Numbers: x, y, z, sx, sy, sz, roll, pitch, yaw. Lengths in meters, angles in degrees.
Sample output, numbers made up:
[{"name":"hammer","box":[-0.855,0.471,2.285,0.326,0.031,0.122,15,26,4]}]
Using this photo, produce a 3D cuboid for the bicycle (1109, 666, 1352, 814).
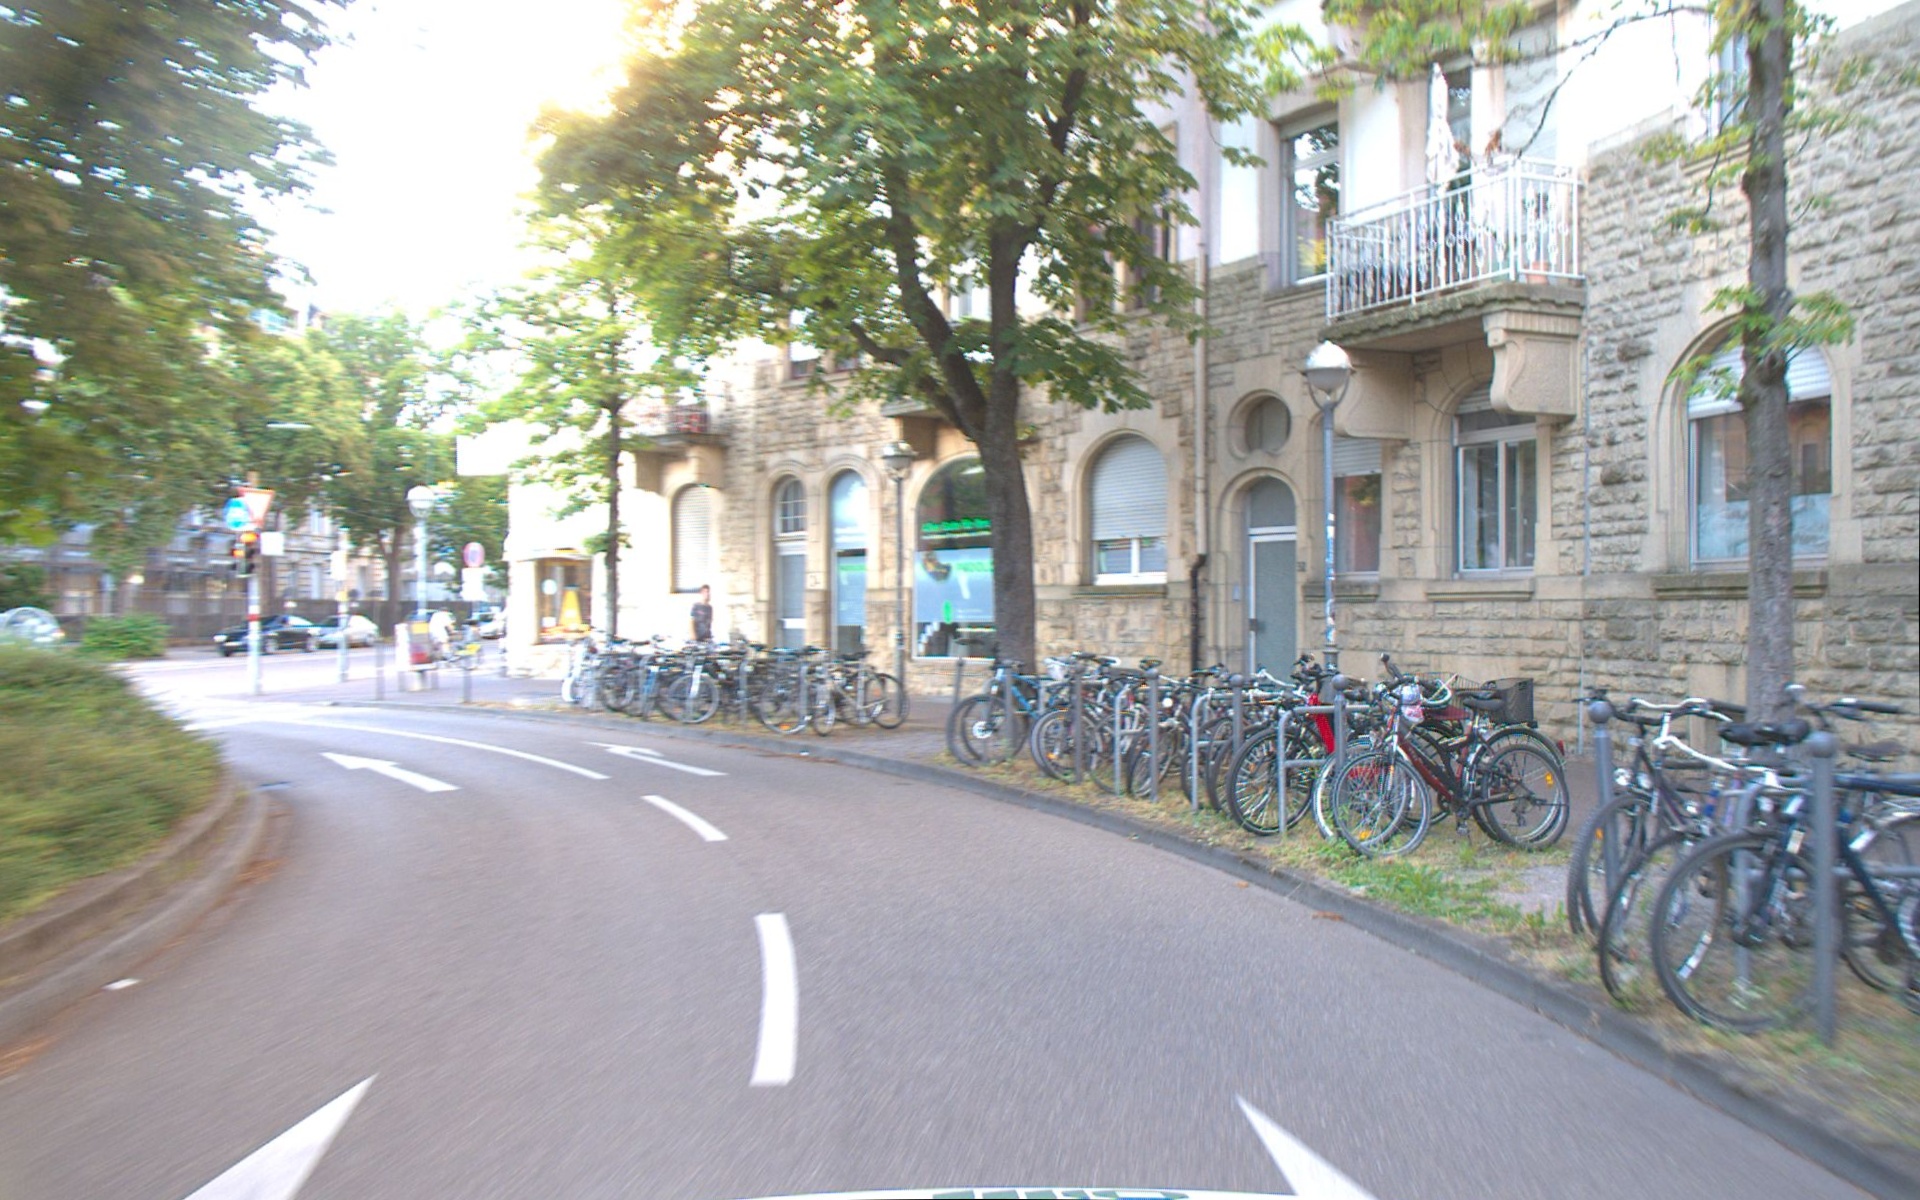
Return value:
[{"name":"bicycle","box":[2.164,1.093,13.194,1.885,1.080,0.532,0,-1,-19]}]

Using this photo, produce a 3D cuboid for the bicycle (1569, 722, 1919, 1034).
[{"name":"bicycle","box":[3.171,1.009,6.227,1.572,1.038,0.554,0,-1,-8]}]

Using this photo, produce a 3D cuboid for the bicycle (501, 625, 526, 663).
[{"name":"bicycle","box":[-15.338,1.496,56.824,0.685,1.258,1.858,0,0,-10]}]

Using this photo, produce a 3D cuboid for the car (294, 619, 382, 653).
[{"name":"car","box":[-28.057,1.587,74.746,1.962,1.451,4.634,0,0,3]}]

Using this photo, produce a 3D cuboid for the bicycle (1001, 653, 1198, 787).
[{"name":"bicycle","box":[1.303,1.094,15.401,1.822,1.165,0.416,0,-1,-20]}]

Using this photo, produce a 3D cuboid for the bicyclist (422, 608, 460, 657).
[{"name":"bicyclist","box":[-15.515,0.965,49.489,0.683,1.436,0.864,0,-1,25]}]

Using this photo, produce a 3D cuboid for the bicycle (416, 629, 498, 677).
[{"name":"bicycle","box":[-12.514,1.313,41.160,1.854,1.150,0.723,0,-1,-32]}]

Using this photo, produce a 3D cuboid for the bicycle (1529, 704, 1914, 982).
[{"name":"bicycle","box":[3.290,1.019,7.156,1.574,1.082,0.417,0,-1,-12]}]

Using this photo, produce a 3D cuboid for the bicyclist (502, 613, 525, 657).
[{"name":"bicyclist","box":[-15.332,1.191,56.807,0.685,1.487,0.782,0,-1,-11]}]

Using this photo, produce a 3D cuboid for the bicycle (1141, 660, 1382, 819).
[{"name":"bicycle","box":[2.313,1.045,12.674,1.819,1.136,0.417,0,-1,-16]}]

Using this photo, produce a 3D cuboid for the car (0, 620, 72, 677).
[{"name":"car","box":[-27.251,1.351,46.374,1.902,1.536,4.423,0,0,8]}]

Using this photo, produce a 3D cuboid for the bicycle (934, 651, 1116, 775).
[{"name":"bicycle","box":[0.673,1.117,16.685,1.861,1.159,0.487,1,2,-33]}]

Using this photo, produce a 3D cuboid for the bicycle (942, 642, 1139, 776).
[{"name":"bicycle","box":[0.795,1.062,16.267,1.851,1.238,0.489,0,-6,-20]}]

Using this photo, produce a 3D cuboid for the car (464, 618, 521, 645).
[{"name":"car","box":[-26.616,1.786,94.302,1.904,1.508,4.321,0,0,1]}]

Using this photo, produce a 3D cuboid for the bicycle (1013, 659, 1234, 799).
[{"name":"bicycle","box":[1.455,1.135,14.737,1.822,1.109,0.417,0,-19,-20]}]

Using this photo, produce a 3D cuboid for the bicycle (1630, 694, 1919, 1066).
[{"name":"bicycle","box":[3.230,0.932,5.790,1.572,1.168,0.554,0,-1,-8]}]

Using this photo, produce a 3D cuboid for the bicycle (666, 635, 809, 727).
[{"name":"bicycle","box":[-3.068,1.100,22.941,1.870,1.183,0.695,0,-1,-36]}]

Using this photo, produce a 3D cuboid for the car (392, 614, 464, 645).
[{"name":"car","box":[-27.303,1.500,85.043,1.902,1.508,4.171,0,0,7]}]

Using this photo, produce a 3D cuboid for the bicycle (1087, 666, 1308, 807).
[{"name":"bicycle","box":[1.964,1.105,13.635,1.822,1.070,0.416,0,-1,-20]}]

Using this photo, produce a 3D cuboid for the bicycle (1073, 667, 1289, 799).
[{"name":"bicycle","box":[1.865,1.098,13.907,1.822,1.017,0.416,0,-1,-20]}]

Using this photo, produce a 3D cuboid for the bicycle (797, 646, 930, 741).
[{"name":"bicycle","box":[-1.172,1.129,20.365,1.658,1.097,0.480,0,-1,-38]}]

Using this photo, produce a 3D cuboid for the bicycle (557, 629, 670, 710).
[{"name":"bicycle","box":[-5.634,1.113,26.955,0.639,1.258,1.782,-1,-1,42]}]

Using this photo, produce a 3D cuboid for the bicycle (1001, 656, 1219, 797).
[{"name":"bicycle","box":[1.357,1.134,14.993,1.822,1.147,0.417,0,-19,-20]}]

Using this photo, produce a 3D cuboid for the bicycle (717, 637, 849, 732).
[{"name":"bicycle","box":[-2.331,1.098,21.802,1.651,1.147,0.482,0,6,-29]}]

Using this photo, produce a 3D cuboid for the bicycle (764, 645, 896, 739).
[{"name":"bicycle","box":[-1.617,1.131,20.663,1.658,1.097,0.480,0,-1,-38]}]

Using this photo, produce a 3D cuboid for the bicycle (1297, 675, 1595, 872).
[{"name":"bicycle","box":[2.944,1.021,10.007,1.761,1.082,0.446,0,-1,-16]}]

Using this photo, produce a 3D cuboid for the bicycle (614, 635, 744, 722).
[{"name":"bicycle","box":[-4.065,1.115,24.043,0.629,1.183,1.879,-1,-1,43]}]

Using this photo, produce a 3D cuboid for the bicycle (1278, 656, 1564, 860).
[{"name":"bicycle","box":[2.908,0.966,10.418,1.761,1.188,0.446,0,-1,-16]}]

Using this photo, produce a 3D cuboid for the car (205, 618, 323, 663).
[{"name":"car","box":[-25.491,1.457,60.734,1.902,1.536,4.635,0,0,7]}]

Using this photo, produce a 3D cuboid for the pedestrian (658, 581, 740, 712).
[{"name":"pedestrian","box":[-4.351,0.753,27.576,1.002,2.122,1.048,-1,0,-34]}]

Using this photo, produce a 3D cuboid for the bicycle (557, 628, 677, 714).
[{"name":"bicycle","box":[-5.342,1.085,25.819,0.688,1.258,1.781,-1,-1,43]}]

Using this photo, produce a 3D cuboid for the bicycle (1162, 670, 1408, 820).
[{"name":"bicycle","box":[2.434,1.063,12.373,1.819,1.032,0.417,0,-1,-16]}]

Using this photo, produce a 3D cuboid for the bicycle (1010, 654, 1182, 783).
[{"name":"bicycle","box":[1.332,1.114,15.964,1.840,1.123,0.565,0,-1,-43]}]

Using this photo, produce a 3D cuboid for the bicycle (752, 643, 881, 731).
[{"name":"bicycle","box":[-1.875,1.127,21.730,1.652,1.097,0.481,0,-1,-30]}]

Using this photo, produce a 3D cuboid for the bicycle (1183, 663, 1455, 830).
[{"name":"bicycle","box":[2.571,1.021,11.841,1.885,1.083,0.549,0,-1,-18]}]

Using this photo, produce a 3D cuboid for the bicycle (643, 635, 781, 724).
[{"name":"bicycle","box":[-3.523,1.106,23.540,1.870,1.183,0.632,0,-1,-36]}]

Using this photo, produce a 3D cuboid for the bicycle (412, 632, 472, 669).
[{"name":"bicycle","box":[-15.495,1.507,49.516,0.683,1.073,1.792,0,0,25]}]

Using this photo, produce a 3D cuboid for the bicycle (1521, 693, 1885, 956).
[{"name":"bicycle","box":[3.396,0.996,7.565,1.574,1.095,0.417,0,-1,-12]}]

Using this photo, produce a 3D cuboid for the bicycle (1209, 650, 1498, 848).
[{"name":"bicycle","box":[2.645,0.966,11.101,1.885,1.221,0.549,0,-1,-18]}]

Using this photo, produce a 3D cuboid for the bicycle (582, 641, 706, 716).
[{"name":"bicycle","box":[-4.792,1.176,25.163,0.688,1.056,1.795,-1,-1,43]}]
